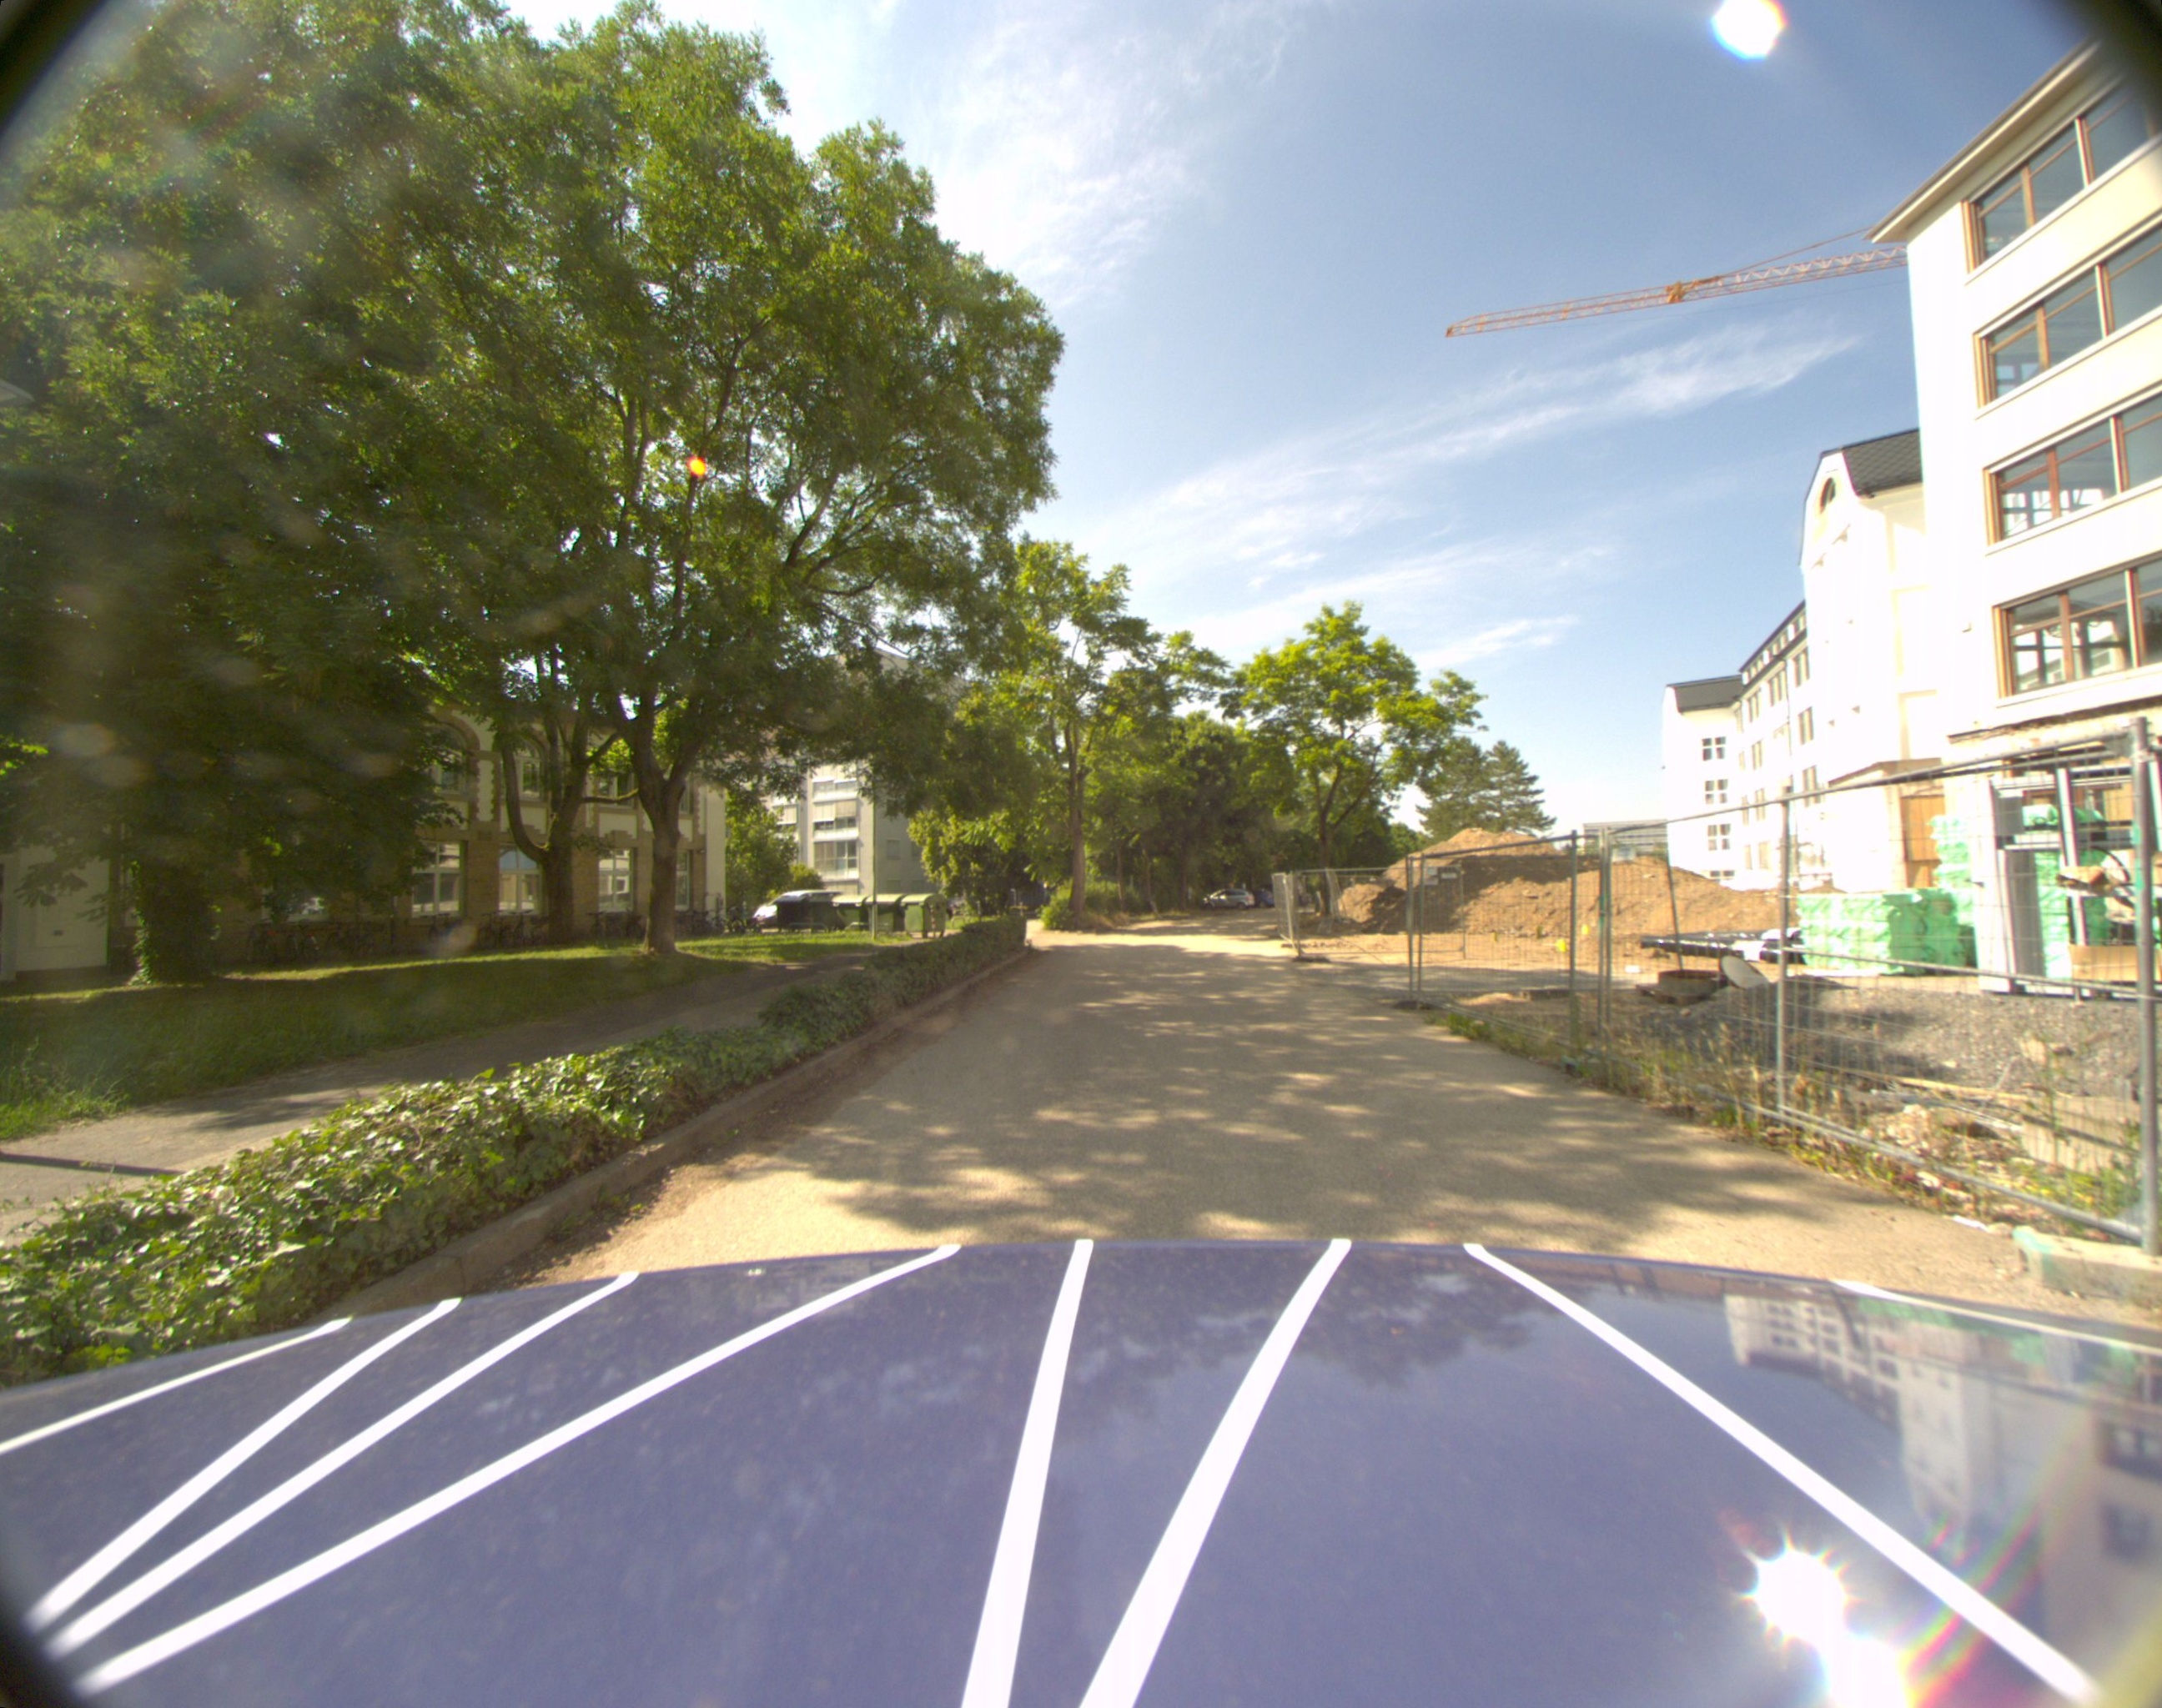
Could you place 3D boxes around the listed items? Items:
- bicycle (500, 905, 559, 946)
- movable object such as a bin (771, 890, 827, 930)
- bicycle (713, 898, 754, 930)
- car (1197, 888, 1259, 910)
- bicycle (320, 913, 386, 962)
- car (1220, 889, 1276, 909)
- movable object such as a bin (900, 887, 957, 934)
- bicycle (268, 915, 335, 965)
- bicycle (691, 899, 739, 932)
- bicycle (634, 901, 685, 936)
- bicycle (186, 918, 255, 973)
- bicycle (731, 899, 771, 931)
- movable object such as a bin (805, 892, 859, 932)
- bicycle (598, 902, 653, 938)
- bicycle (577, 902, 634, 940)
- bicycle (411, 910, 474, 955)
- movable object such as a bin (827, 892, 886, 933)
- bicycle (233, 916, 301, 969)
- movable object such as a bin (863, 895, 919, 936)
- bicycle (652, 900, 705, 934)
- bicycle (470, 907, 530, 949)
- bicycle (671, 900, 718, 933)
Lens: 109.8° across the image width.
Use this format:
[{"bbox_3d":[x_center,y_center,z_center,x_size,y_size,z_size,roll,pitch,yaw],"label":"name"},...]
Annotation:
[{"bbox_3d":[-16.540,2.123,22.769,2.097,1.154,0.589,-2,-2,29],"label":"bicycle"},{"bbox_3d":[-10.317,2.051,27.826,1.432,1.400,1.252,-2,-2,24],"label":"movable object such as a bin"},{"bbox_3d":[-13.084,2.247,28.565,1.800,1.154,0.508,-3,-2,33],"label":"bicycle"},{"bbox_3d":[10.649,3.268,54.975,3.991,1.498,2.004,-2,-2,23],"label":"car"},{"bbox_3d":[-18.524,2.099,19.325,2.097,1.154,0.589,-2,-2,29],"label":"bicycle"},{"bbox_3d":[13.131,3.537,59.763,3.991,1.433,2.004,-2,-2,23],"label":"car"},{"bbox_3d":[-5.008,1.840,24.906,1.389,1.453,1.218,-3,-2,40],"label":"movable object such as a bin"},{"bbox_3d":[-19.029,2.073,18.537,2.097,1.154,0.589,-2,-2,29],"label":"bicycle"},{"bbox_3d":[-13.531,2.272,28.070,1.846,1.154,0.615,-2,-2,29],"label":"bicycle"},{"bbox_3d":[-14.493,2.206,26.102,1.917,1.154,0.589,-2,-2,29],"label":"bicycle"},{"bbox_3d":[-19.579,2.057,17.280,2.097,1.154,0.589,-2,-2,29],"label":"bicycle"},{"bbox_3d":[-12.581,2.305,28.966,1.940,1.154,0.558,-3,-2,39],"label":"bicycle"},{"bbox_3d":[-8.890,2.062,27.170,1.349,1.340,1.218,-2,-2,25],"label":"movable object such as a bin"},{"bbox_3d":[-15.114,2.178,25.193,2.097,1.154,0.589,-2,-2,29],"label":"bicycle"},{"bbox_3d":[-15.388,2.166,24.577,2.097,1.154,0.589,-2,-2,29],"label":"bicycle"},{"bbox_3d":[-17.570,2.133,20.891,2.097,1.154,0.589,-2,-2,29],"label":"bicycle"},{"bbox_3d":[-7.723,1.997,26.161,1.498,1.353,1.218,-2,-2,25],"label":"movable object such as a bin"},{"bbox_3d":[-19.219,2.068,17.929,2.097,1.154,0.589,-2,-2,29],"label":"bicycle"},{"bbox_3d":[-6.361,2.053,25.474,1.352,1.292,1.218,-2,-2,25],"label":"movable object such as a bin"},{"bbox_3d":[-14.195,2.220,26.794,2.097,1.154,0.589,-2,-2,29],"label":"bicycle"},{"bbox_3d":[-16.881,2.136,22.070,2.097,1.154,0.589,-2,-2,29],"label":"bicycle"},{"bbox_3d":[-13.900,2.249,27.288,1.909,1.154,0.495,-2,-2,29],"label":"bicycle"}]
